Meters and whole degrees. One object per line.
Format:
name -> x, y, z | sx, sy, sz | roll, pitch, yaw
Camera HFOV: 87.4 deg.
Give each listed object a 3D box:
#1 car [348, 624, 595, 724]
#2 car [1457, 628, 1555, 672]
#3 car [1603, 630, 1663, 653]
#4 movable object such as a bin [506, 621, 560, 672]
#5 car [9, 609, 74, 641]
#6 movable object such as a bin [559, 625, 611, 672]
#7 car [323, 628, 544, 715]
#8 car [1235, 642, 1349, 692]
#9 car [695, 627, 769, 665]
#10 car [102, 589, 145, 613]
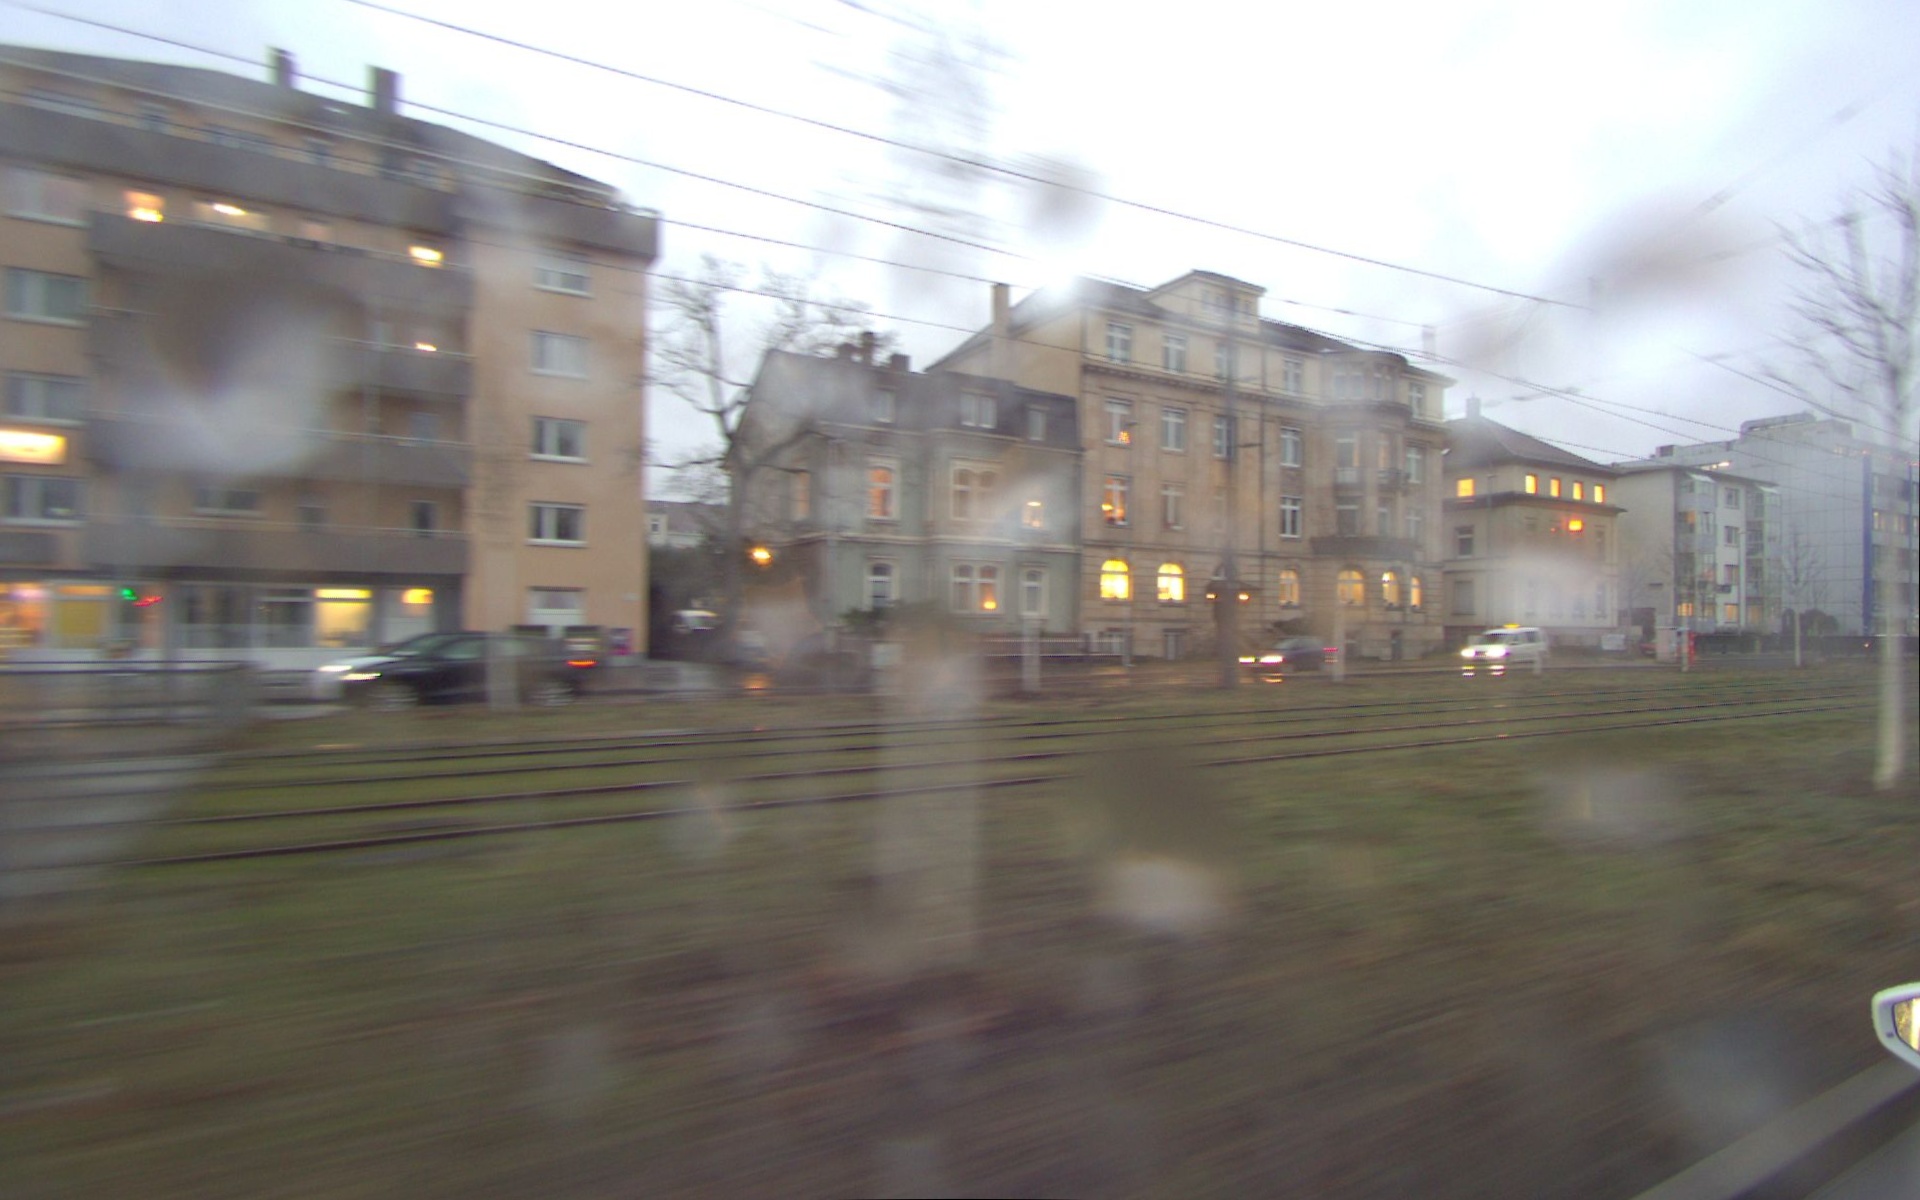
car -> -9.056, 1.323, 18.722 | 3.955, 1.606, 1.792 | 2, 0, -31
car -> 25.586, 2.284, 47.042 | 4.859, 1.958, 1.982 | 1, -2, -33
car -> 42.583, 2.605, 63.578 | 3.885, 1.455, 1.796 | 1, -2, -33
movable object such as a bin -> -13.674, 1.466, 32.165 | 1.409, 1.581, 1.101 | 1, -2, -33
car -> -47.238, 1.272, 51.731 | 1.738, 1.572, 3.806 | 1, -1, -31
movable object such as a bin -> -12.338, 1.569, 33.070 | 1.409, 1.500, 1.101 | 1, -2, -33
car -> -11.041, 1.469, 21.186 | 3.955, 1.606, 1.792 | 2, 0, -31
car -> 12.538, 2.479, 37.882 | 4.067, 1.715, 1.982 | 1, -2, -33
car -> -9.467, 1.886, 41.552 | 1.813, 1.425, 3.966 | 2, -1, -31
car -> -58.400, 0.104, 70.167 | 1.738, 1.572, 3.806 | 1, -1, -31
